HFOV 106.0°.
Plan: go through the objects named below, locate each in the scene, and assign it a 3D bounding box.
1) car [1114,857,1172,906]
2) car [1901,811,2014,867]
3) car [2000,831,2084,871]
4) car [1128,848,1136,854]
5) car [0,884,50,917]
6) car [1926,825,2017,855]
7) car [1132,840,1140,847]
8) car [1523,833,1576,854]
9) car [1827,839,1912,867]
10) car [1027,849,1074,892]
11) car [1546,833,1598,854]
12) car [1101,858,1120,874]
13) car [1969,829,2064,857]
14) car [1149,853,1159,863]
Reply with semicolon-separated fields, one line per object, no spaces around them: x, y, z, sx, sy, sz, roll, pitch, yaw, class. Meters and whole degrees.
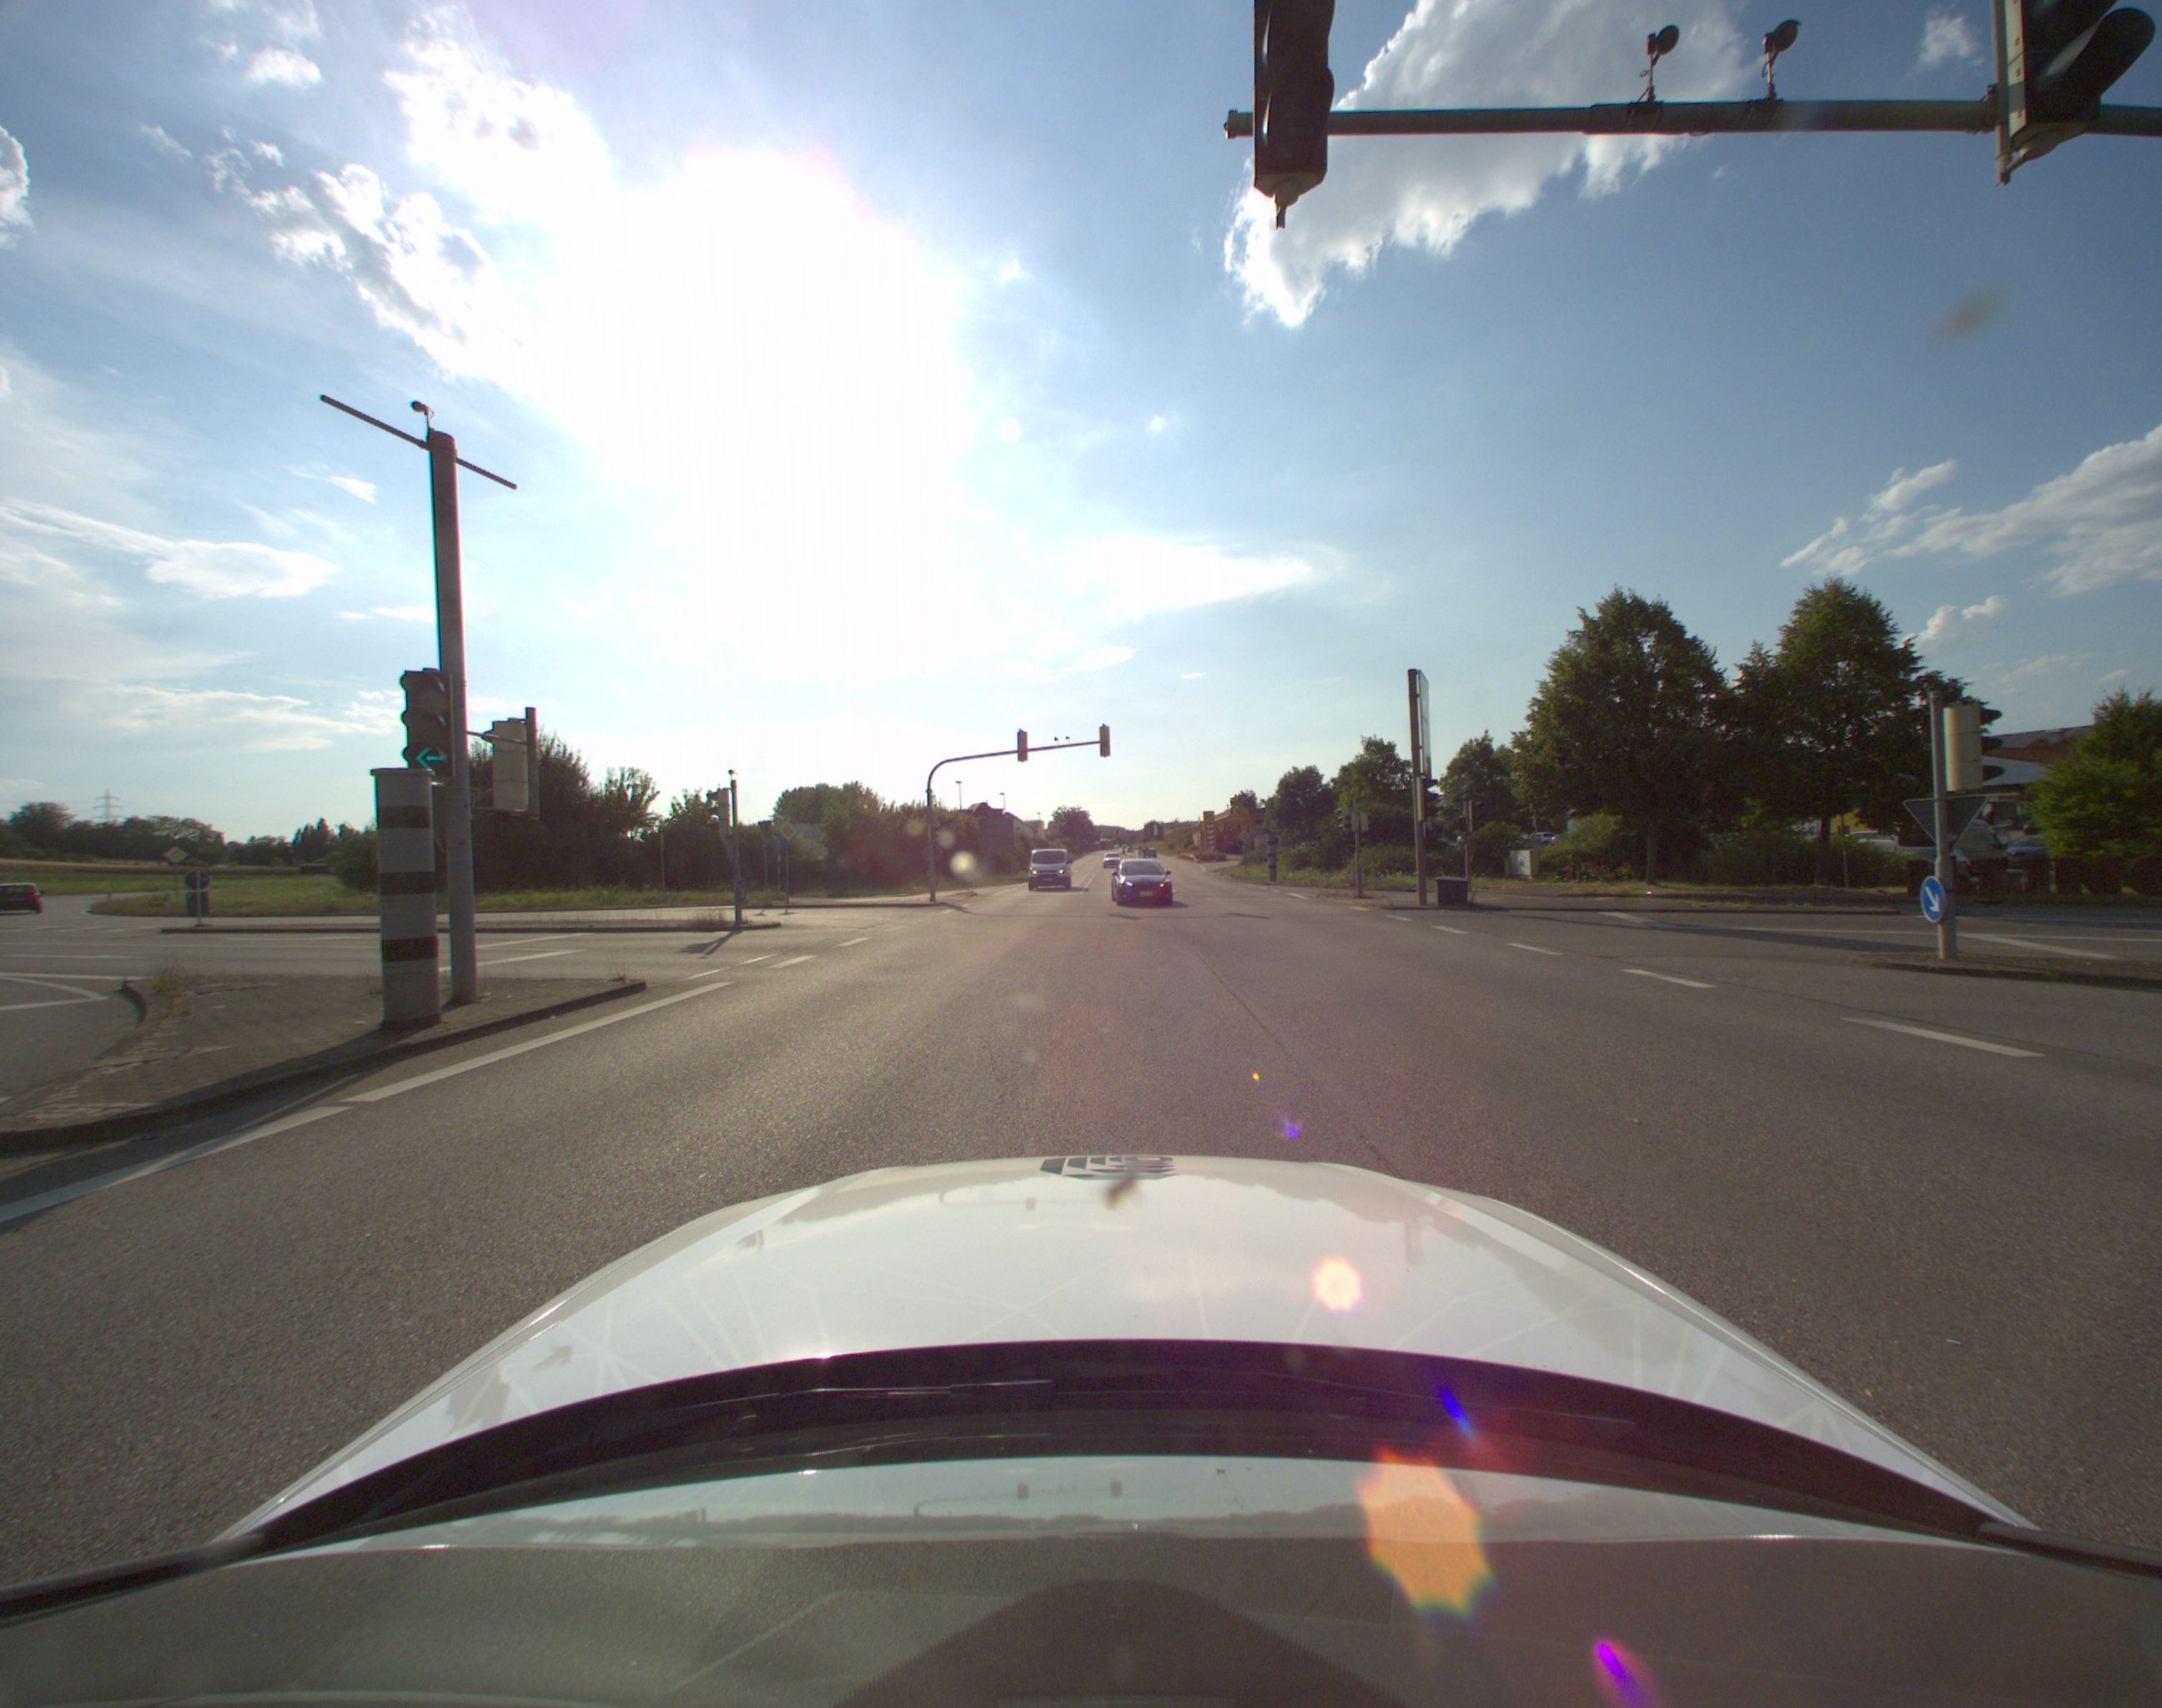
2.095;0.897;27.389;1.780;1.497;4.307;0;-1;5;car
41.497;-0.664;38.564;5.144;2.507;1.985;0;-1;-23;car
48.387;-0.138;40.999;4.000;1.954;1.443;0;-1;-20;car
12.480;-0.823;200.301;1.736;1.352;3.201;0;-1;-2;car
-53.279;2.303;40.845;3.807;1.500;1.739;-1;-1;36;car
50.329;-0.763;46.052;1.571;1.550;3.221;0;-1;-32;car
16.894;-3.148;249.027;1.988;2.014;3.996;0;-1;-2;car
47.969;-1.035;83.439;4.931;2.014;1.987;1;-1;-19;car
44.860;-0.016;46.386;1.577;1.509;3.112;0;-1;-14;car
-1.424;0.766;40.144;1.892;1.947;4.822;0;1;3;car
49.018;-1.029;81.304;4.672;2.014;1.987;1;-1;-19;car
2.962;1.209;81.163;1.850;1.514;4.955;0;-1;2;car
58.260;-0.640;50.794;1.721;1.629;3.541;0;-1;-23;car
11.597;0.623;129.284;1.543;1.449;3.053;0;-1;4;car
